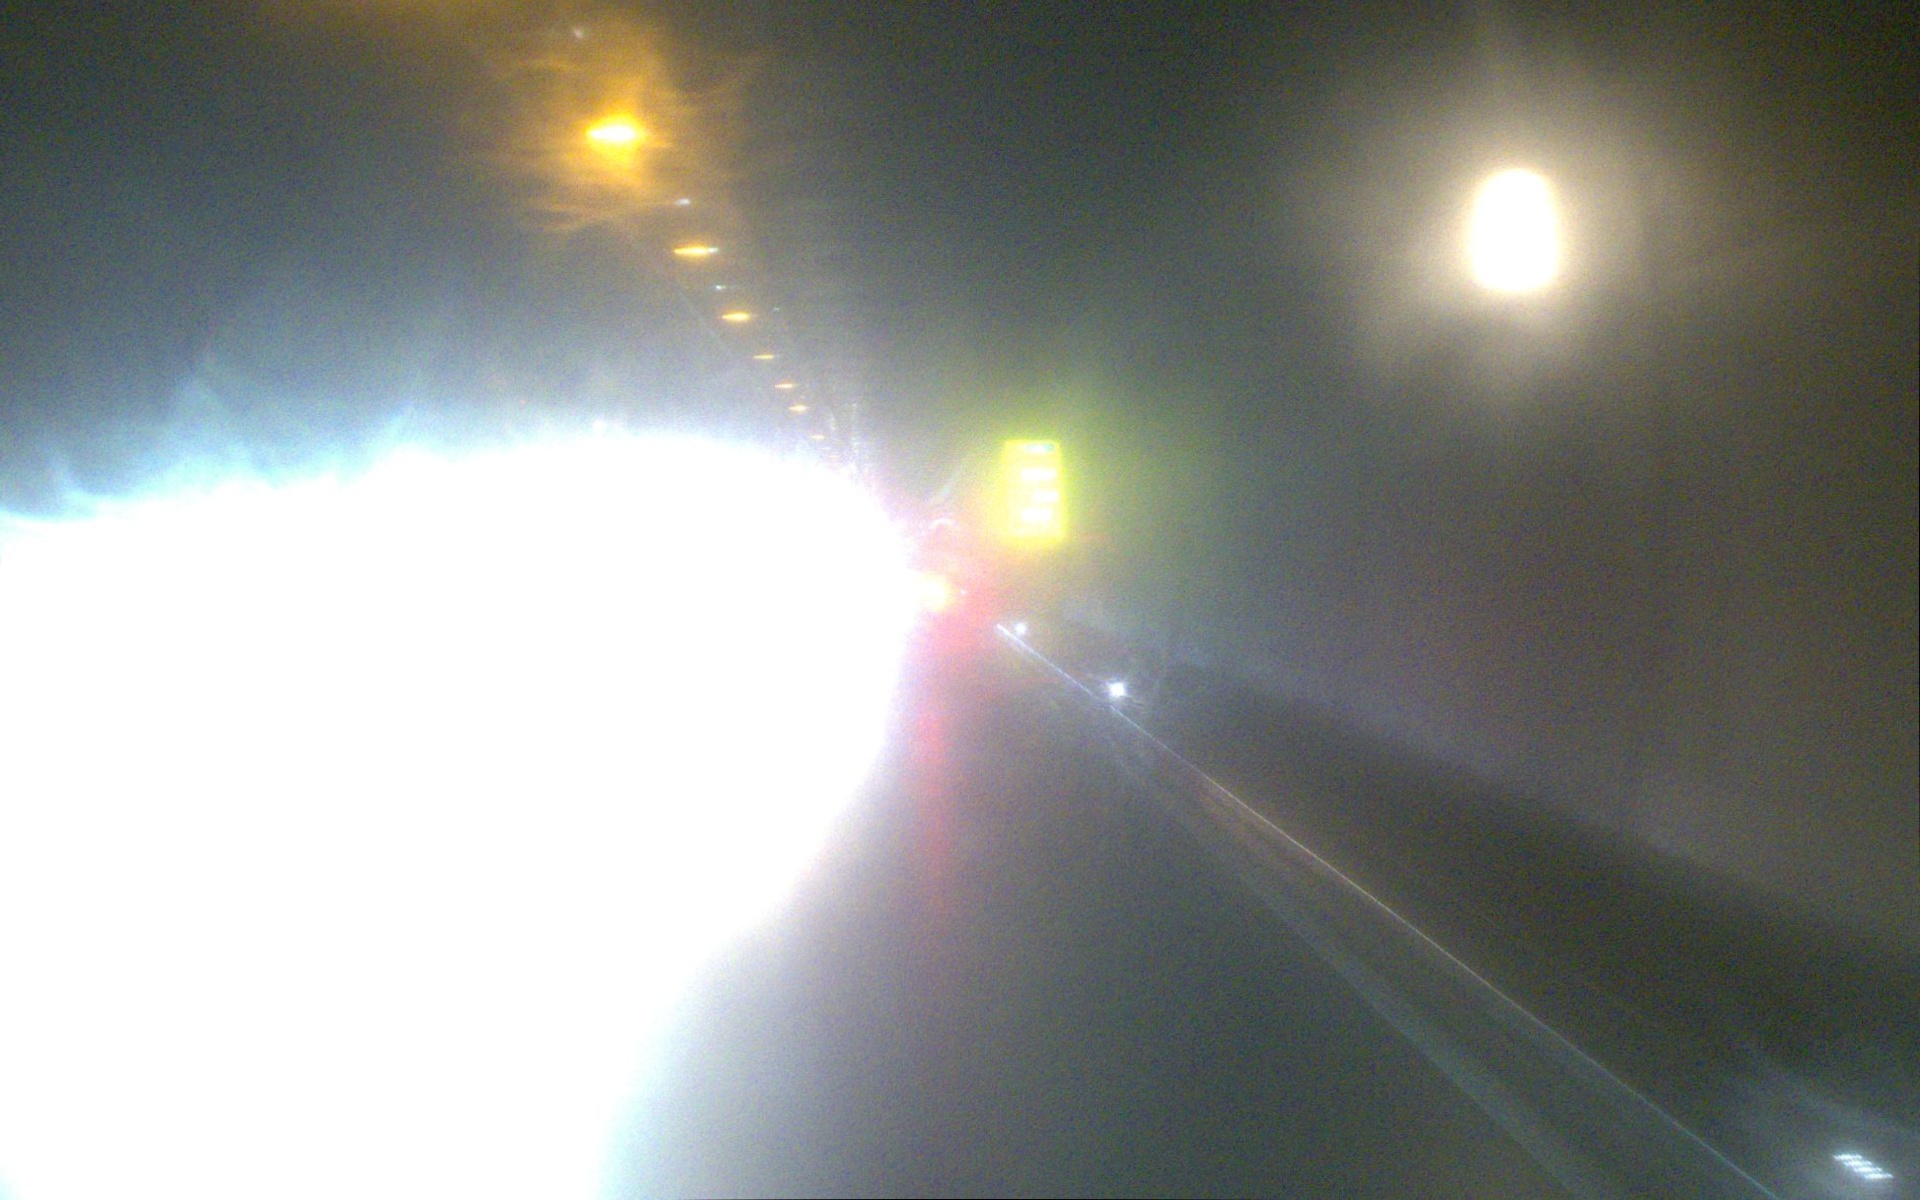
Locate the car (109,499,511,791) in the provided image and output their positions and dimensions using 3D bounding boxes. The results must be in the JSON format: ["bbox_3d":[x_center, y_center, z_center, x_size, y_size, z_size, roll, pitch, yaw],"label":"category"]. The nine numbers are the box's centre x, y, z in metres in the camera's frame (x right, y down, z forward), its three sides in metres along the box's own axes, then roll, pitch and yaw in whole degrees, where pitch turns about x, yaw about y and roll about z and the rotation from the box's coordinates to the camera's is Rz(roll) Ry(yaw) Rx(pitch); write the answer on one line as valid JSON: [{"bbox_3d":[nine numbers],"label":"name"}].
[{"bbox_3d":[-4.047,0.225,22.113,1.781,1.670,4.561,0,1,-1],"label":"car"}]

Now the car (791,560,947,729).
[{"bbox_3d":[-0.993,0.444,38.260,1.635,1.752,4.146,0,1,-1],"label":"car"}]

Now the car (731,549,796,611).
[{"bbox_3d":[-5.487,-0.573,96.323,1.697,1.670,4.127,0,1,-2],"label":"car"}]

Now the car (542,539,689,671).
[{"bbox_3d":[-4.664,0.036,46.910,1.914,1.722,4.001,0,1,-5],"label":"car"}]

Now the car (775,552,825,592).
[{"bbox_3d":[-6.087,-1.061,130.903,1.748,1.475,4.476,0,1,-1],"label":"car"}]
